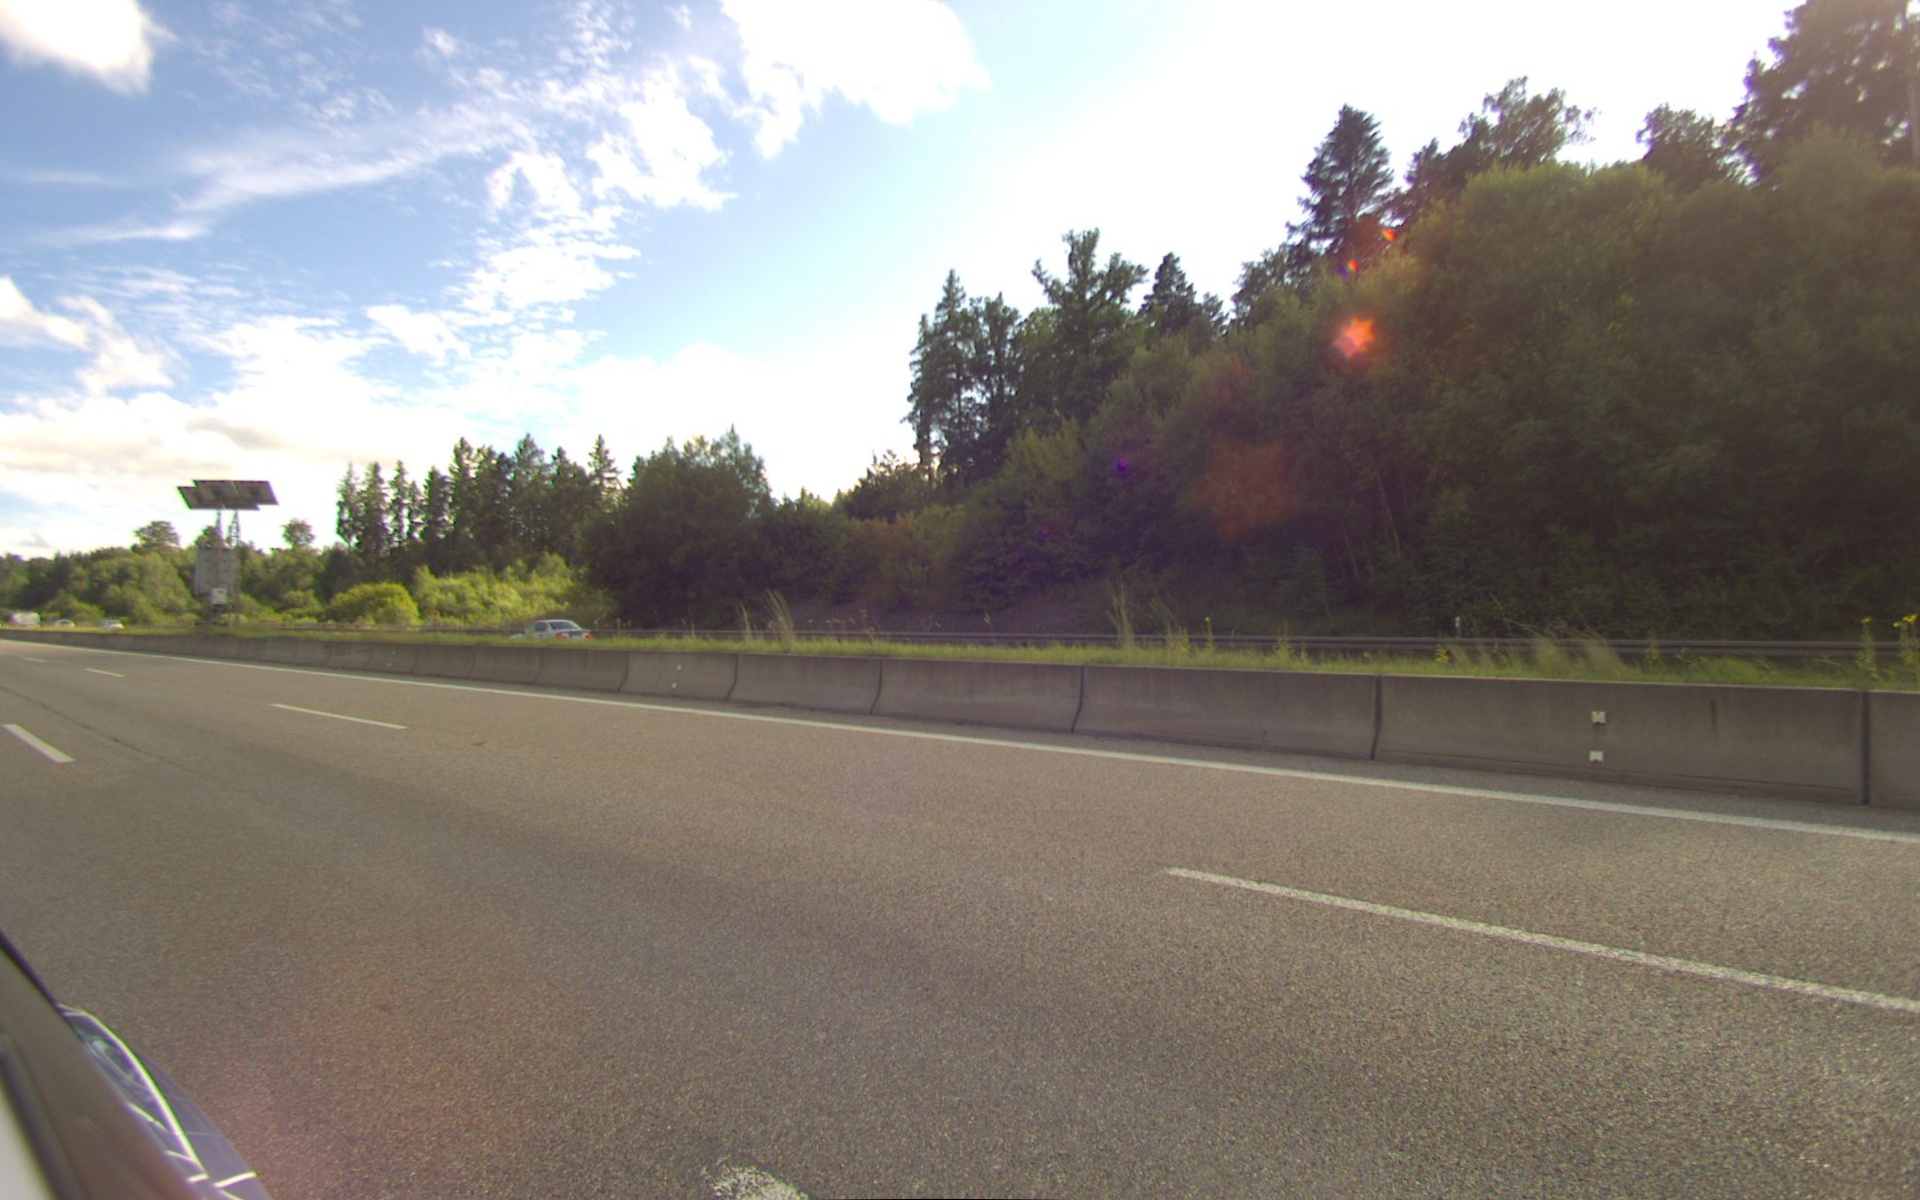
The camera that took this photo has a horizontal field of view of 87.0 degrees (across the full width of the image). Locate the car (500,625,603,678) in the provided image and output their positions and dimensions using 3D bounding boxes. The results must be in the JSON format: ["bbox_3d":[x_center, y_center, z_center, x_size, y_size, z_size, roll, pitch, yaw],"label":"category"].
[{"bbox_3d":[-15.756,1.930,38.917,4.427,1.920,1.906,-2,-1,41],"label":"car"}]

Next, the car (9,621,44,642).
[{"bbox_3d":[-111.497,3.775,120.833,5.828,2.364,2.551,-2,-1,42],"label":"car"}]

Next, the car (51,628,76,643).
[{"bbox_3d":[-110.260,4.323,124.470,4.492,1.819,1.903,-2,-1,42],"label":"car"}]

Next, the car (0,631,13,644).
[{"bbox_3d":[-166.888,6.517,176.219,5.965,2.155,2.551,-2,-1,42],"label":"car"}]

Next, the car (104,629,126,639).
[{"bbox_3d":[-100.923,4.081,120.871,3.172,1.102,1.574,-2,-1,42],"label":"car"}]
